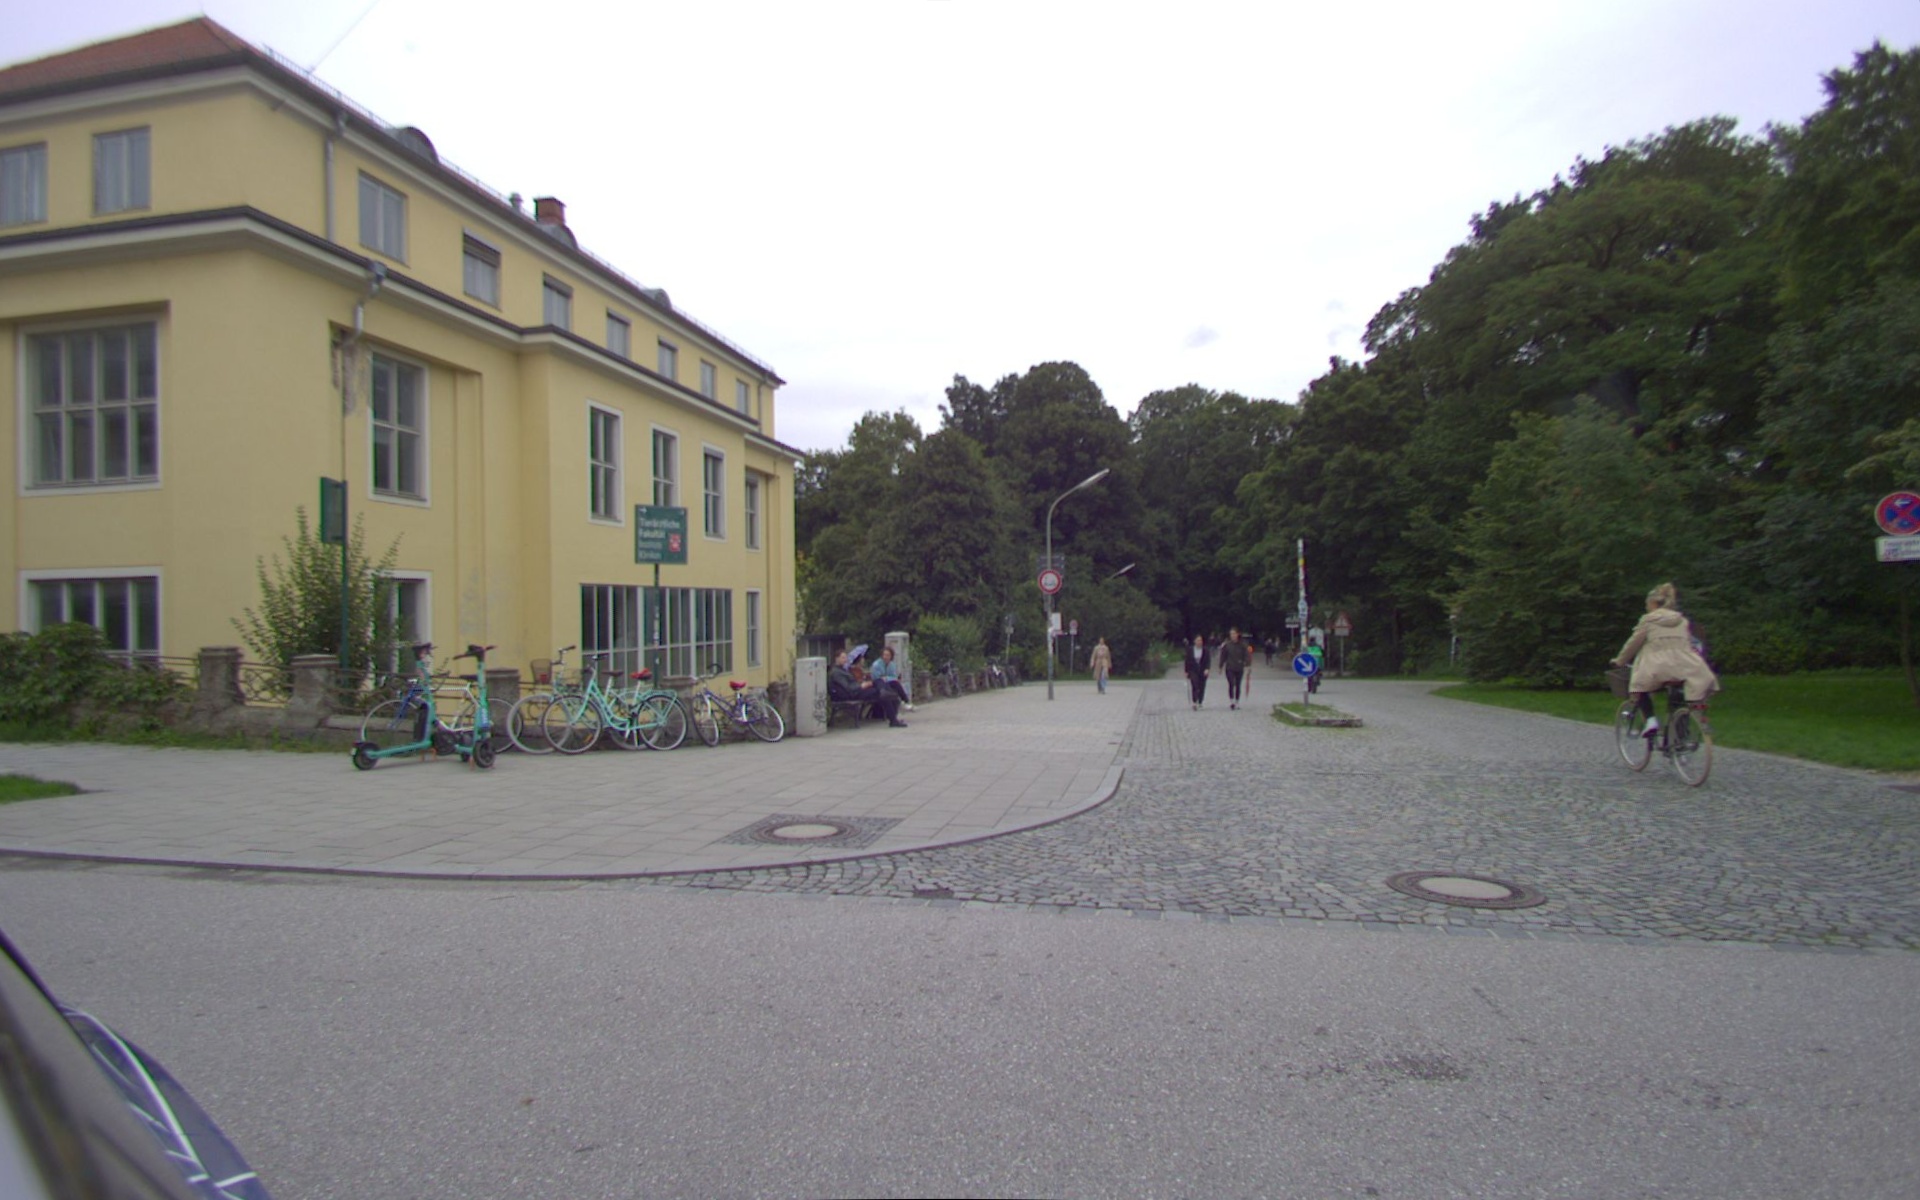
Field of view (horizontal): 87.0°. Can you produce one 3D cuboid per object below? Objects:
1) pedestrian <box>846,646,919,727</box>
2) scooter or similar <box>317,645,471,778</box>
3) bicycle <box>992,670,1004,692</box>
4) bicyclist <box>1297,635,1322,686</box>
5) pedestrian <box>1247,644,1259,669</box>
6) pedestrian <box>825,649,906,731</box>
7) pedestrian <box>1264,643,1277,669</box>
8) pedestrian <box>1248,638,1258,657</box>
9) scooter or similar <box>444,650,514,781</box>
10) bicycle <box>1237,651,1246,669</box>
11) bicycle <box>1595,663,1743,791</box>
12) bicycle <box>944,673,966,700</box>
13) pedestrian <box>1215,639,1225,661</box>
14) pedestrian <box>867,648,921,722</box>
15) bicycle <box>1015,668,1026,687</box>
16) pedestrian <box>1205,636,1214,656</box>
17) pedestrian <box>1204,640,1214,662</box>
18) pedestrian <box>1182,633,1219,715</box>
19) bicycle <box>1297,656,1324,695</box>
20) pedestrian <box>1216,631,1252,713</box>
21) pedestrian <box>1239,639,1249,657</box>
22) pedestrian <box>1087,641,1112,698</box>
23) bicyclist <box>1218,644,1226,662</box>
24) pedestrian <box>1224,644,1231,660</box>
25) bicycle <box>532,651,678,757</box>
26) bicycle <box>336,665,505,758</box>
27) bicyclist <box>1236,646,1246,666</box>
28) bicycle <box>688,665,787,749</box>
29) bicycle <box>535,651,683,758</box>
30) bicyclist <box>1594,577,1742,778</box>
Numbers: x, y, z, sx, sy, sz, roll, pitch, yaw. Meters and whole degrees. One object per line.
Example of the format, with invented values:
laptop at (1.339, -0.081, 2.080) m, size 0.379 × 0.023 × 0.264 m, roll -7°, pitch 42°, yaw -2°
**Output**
pedestrian at (-1.307, 1.463, 17.167) m, size 1.162 × 1.303 × 0.639 m, roll -2°, pitch -5°, yaw 2°
scooter or similar at (-5.703, 1.086, 10.280) m, size 0.394 × 1.257 × 1.379 m, roll -1°, pitch -3°, yaw 24°
bicycle at (1.248, 2.657, 33.264) m, size 0.213 × 0.681 × 0.905 m, roll 1°, pitch -3°, yaw 14°
bicyclist at (9.784, 1.695, 28.348) m, size 0.558 × 1.385 × 0.759 m, roll -1°, pitch -3°, yaw 12°
pedestrian at (19.648, 3.801, 67.889) m, size 0.679 × 1.685 × 0.770 m, roll -3°, pitch -5°, yaw 13°
pedestrian at (-1.511, 1.441, 16.249) m, size 1.200 × 1.257 × 0.639 m, roll -2°, pitch -5°, yaw 2°
pedestrian at (20.629, 3.735, 67.233) m, size 0.679 × 1.685 × 0.770 m, roll -3°, pitch -5°, yaw 13°
pedestrian at (26.951, 4.412, 93.076) m, size 0.735 × 1.685 × 0.917 m, roll -3°, pitch -5°, yaw 13°
scooter or similar at (-4.774, 1.108, 10.017) m, size 0.318 × 1.222 × 1.119 m, roll 2°, pitch -4°, yaw -41°
bicycle at (18.838, 4.012, 67.791) m, size 0.459 × 1.068 × 1.755 m, roll -1°, pitch 1°, yaw 12°
bicycle at (6.742, 1.155, 9.731) m, size 0.479 × 1.049 × 1.937 m, roll -1°, pitch -2°, yaw 14°
bicycle at (-0.122, 2.262, 26.440) m, size 0.214 × 0.681 × 0.902 m, roll 0°, pitch -3°, yaw 23°
pedestrian at (20.860, 4.015, 81.296) m, size 0.679 × 1.685 × 0.770 m, roll -3°, pitch -5°, yaw 13°
pedestrian at (-1.162, 1.492, 17.799) m, size 0.875 × 1.244 × 0.550 m, roll -2°, pitch -5°, yaw 2°
bicycle at (2.254, 2.887, 37.666) m, size 0.239 × 0.662 × 0.905 m, roll 1°, pitch -3°, yaw 12°
pedestrian at (21.735, 4.002, 88.242) m, size 0.679 × 1.685 × 0.770 m, roll -3°, pitch -5°, yaw 13°
pedestrian at (19.744, 4.017, 80.203) m, size 0.679 × 1.685 × 0.770 m, roll -3°, pitch -5°, yaw 13°
pedestrian at (5.082, 1.564, 21.451) m, size 0.679 × 1.685 × 0.770 m, roll -3°, pitch -5°, yaw 13°
bicycle at (9.804, 2.094, 28.316) m, size 0.459 × 1.068 × 1.755 m, roll -1°, pitch -3°, yaw 12°
pedestrian at (5.786, 1.517, 21.404) m, size 0.633 × 1.685 × 0.770 m, roll -3°, pitch -5°, yaw 13°
pedestrian at (26.139, 4.424, 93.282) m, size 0.735 × 1.685 × 0.917 m, roll -3°, pitch -5°, yaw 13°
pedestrian at (4.293, 2.148, 31.119) m, size 0.647 × 1.699 × 0.971 m, roll -3°, pitch -5°, yaw 12°
bicyclist at (19.583, 3.969, 75.644) m, size 0.558 × 1.275 × 0.759 m, roll -1°, pitch 1°, yaw 12°
pedestrian at (21.516, 4.176, 81.386) m, size 0.467 × 1.275 × 0.446 m, roll -1°, pitch -2°, yaw 12°
bicycle at (-4.227, 1.234, 12.140) m, size 1.627 × 1.200 × 0.203 m, roll 4°, pitch -4°, yaw -37°
bicycle at (-5.996, 1.245, 11.297) m, size 1.627 × 1.001 × 0.249 m, roll 2°, pitch -3°, yaw -11°
bicyclist at (18.848, 3.754, 67.908) m, size 0.558 × 1.275 × 0.759 m, roll -1°, pitch 1°, yaw 12°
bicycle at (-2.950, 1.398, 13.579) m, size 0.306 × 1.046 × 1.639 m, roll 0°, pitch -3°, yaw 26°
bicycle at (-4.120, 1.221, 11.972) m, size 1.627 × 1.207 × 0.170 m, roll 4°, pitch -4°, yaw -37°
bicyclist at (6.682, 0.718, 9.609) m, size 0.848 × 1.816 × 0.764 m, roll -2°, pitch -2°, yaw 12°
